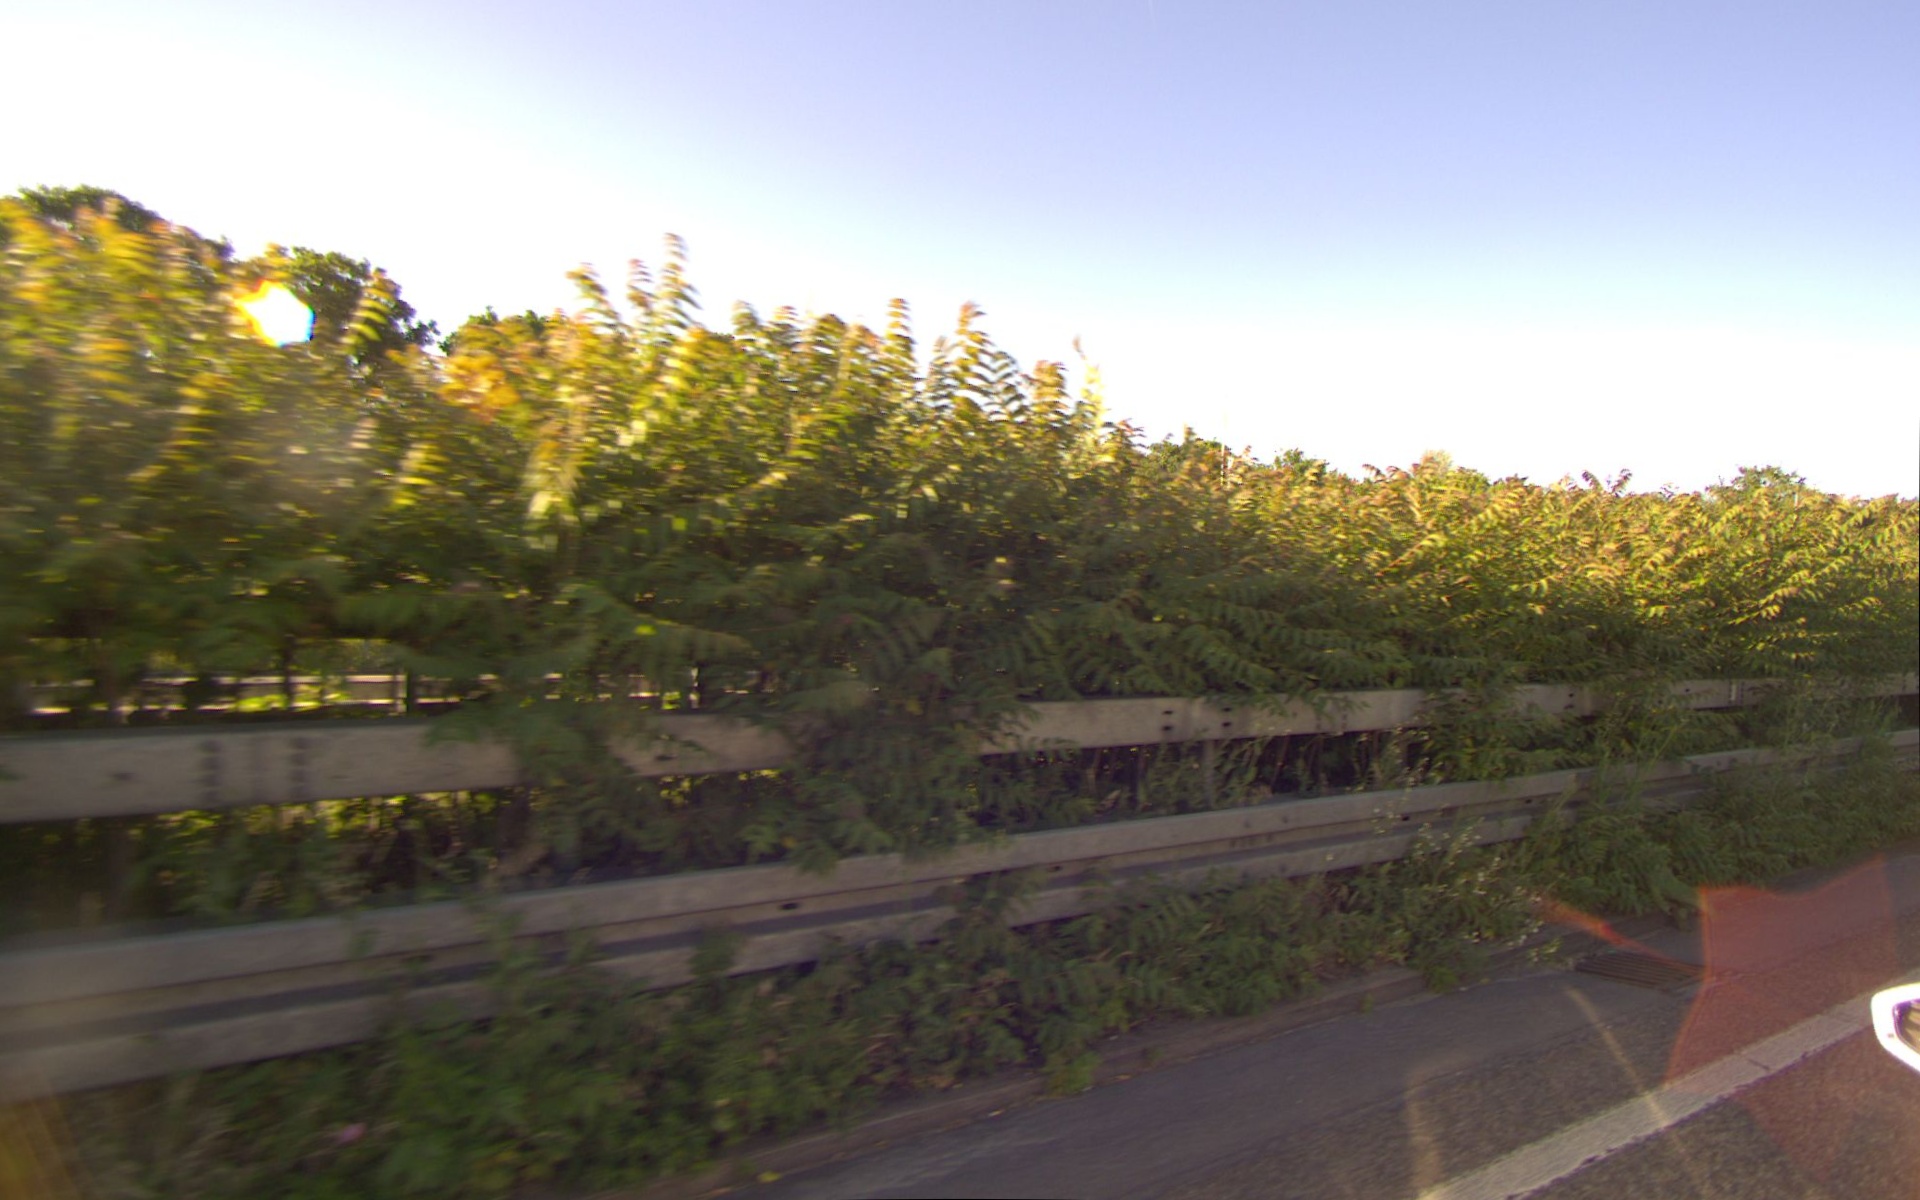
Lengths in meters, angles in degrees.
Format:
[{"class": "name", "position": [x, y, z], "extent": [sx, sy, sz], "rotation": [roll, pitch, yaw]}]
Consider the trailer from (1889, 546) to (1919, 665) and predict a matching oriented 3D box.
[{"class": "trailer", "position": [38.573, 0.285, 37.718], "extent": [10.578, 4.178, 2.635], "rotation": [1, 0, -32]}]

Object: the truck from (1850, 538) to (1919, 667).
[{"class": "truck", "position": [33.282, 0.117, 34.421], "extent": [5.498, 4.178, 2.635], "rotation": [1, 0, -31]}]
